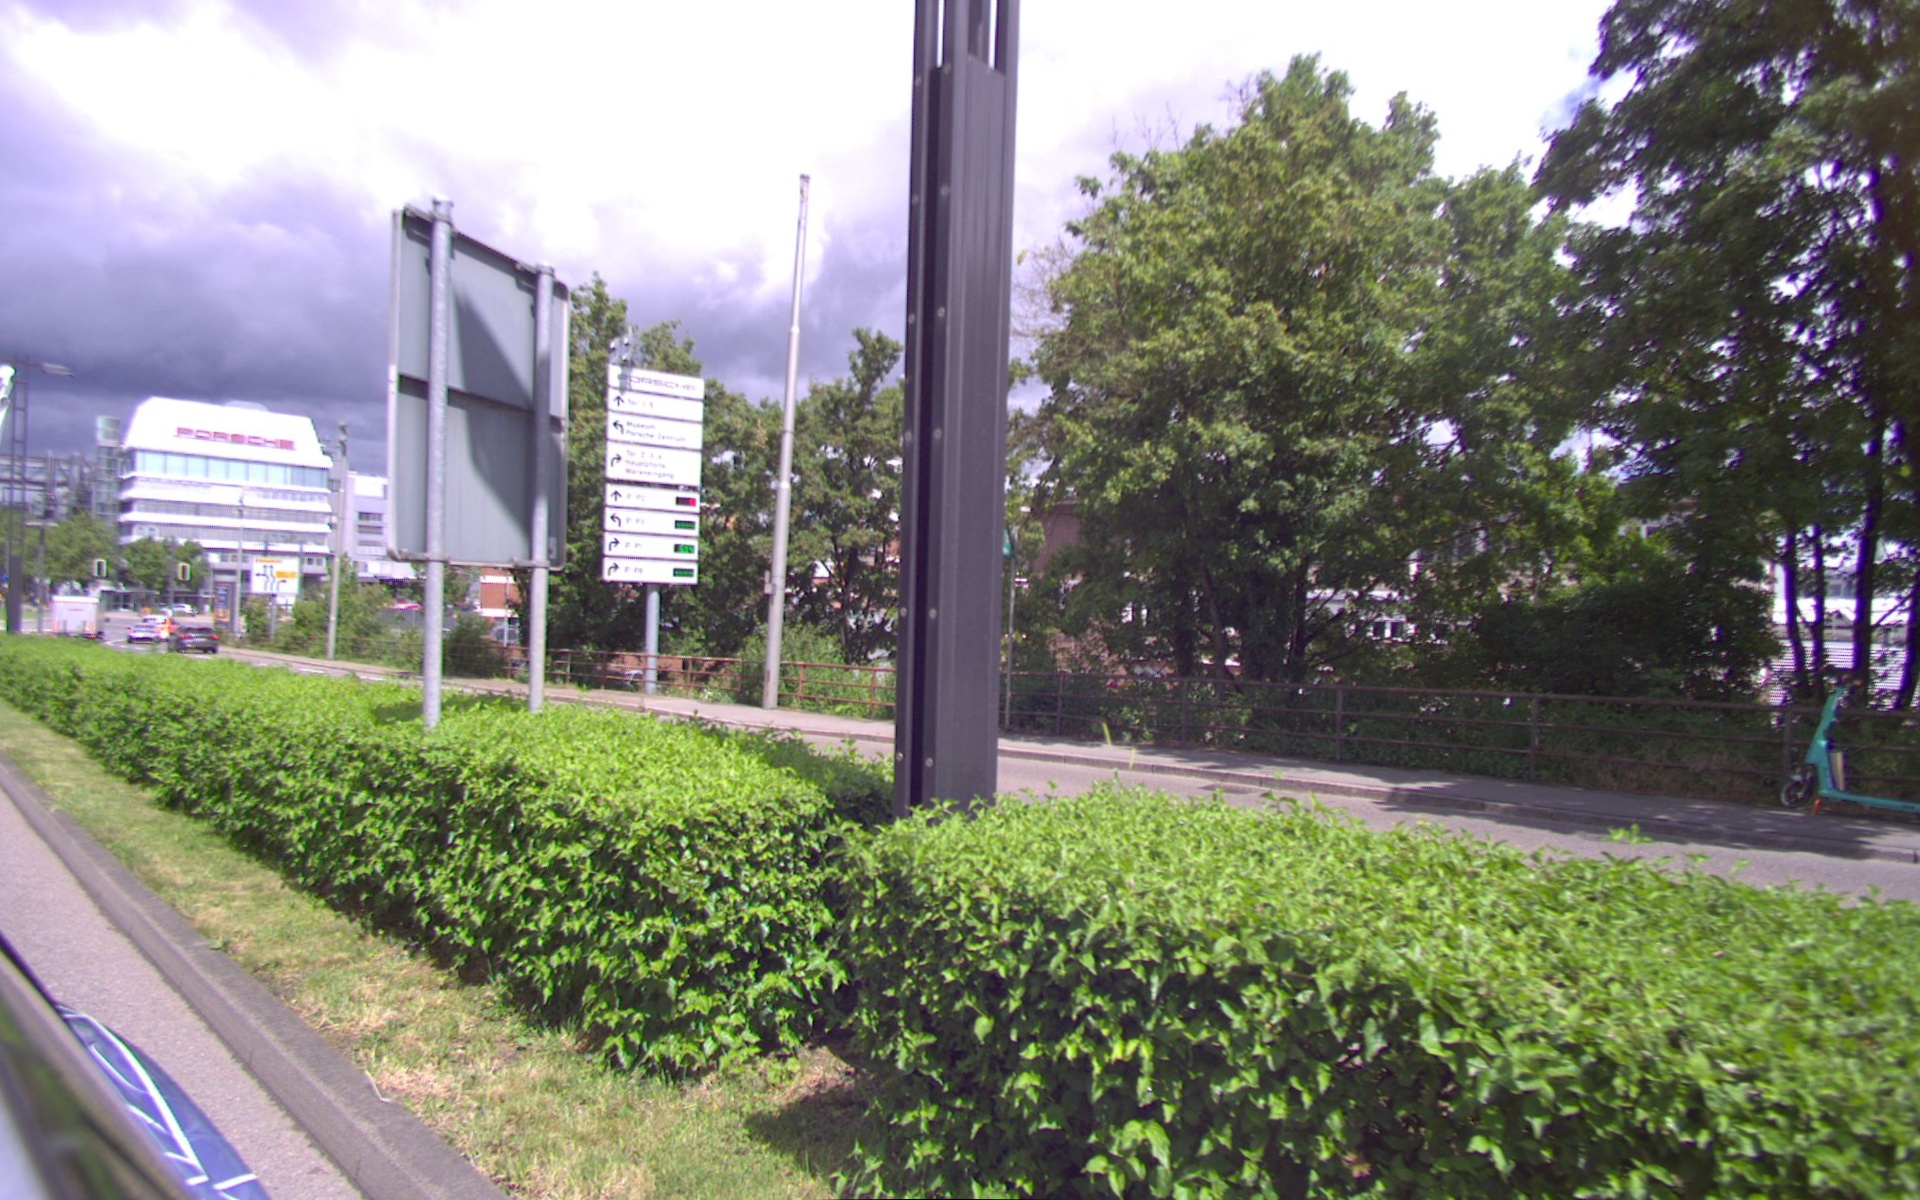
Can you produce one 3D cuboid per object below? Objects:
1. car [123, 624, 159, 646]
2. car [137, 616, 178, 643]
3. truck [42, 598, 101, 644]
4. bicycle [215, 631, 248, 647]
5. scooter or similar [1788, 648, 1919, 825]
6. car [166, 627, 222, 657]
[{"bbox_3d":[-57.532,2.458,71.134,1.773,1.433,4.502,3,-3,-37],"label":"car"},{"bbox_3d":[-61.232,2.228,77.267,1.966,1.973,4.641,1,-1,-32],"label":"car"},{"bbox_3d":[-62.735,1.558,71.349,2.821,2.879,9.385,1,-4,-43],"label":"truck"},{"bbox_3d":[-56.371,3.021,78.308,2.011,1.176,0.622,1,-2,-38],"label":"bicycle"},{"bbox_3d":[7.515,1.052,7.842,1.643,1.314,0.486,-1,-1,44],"label":"scooter or similar"},{"bbox_3d":[-40.561,2.206,53.562,1.818,1.519,4.565,2,-2,-44],"label":"car"}]
